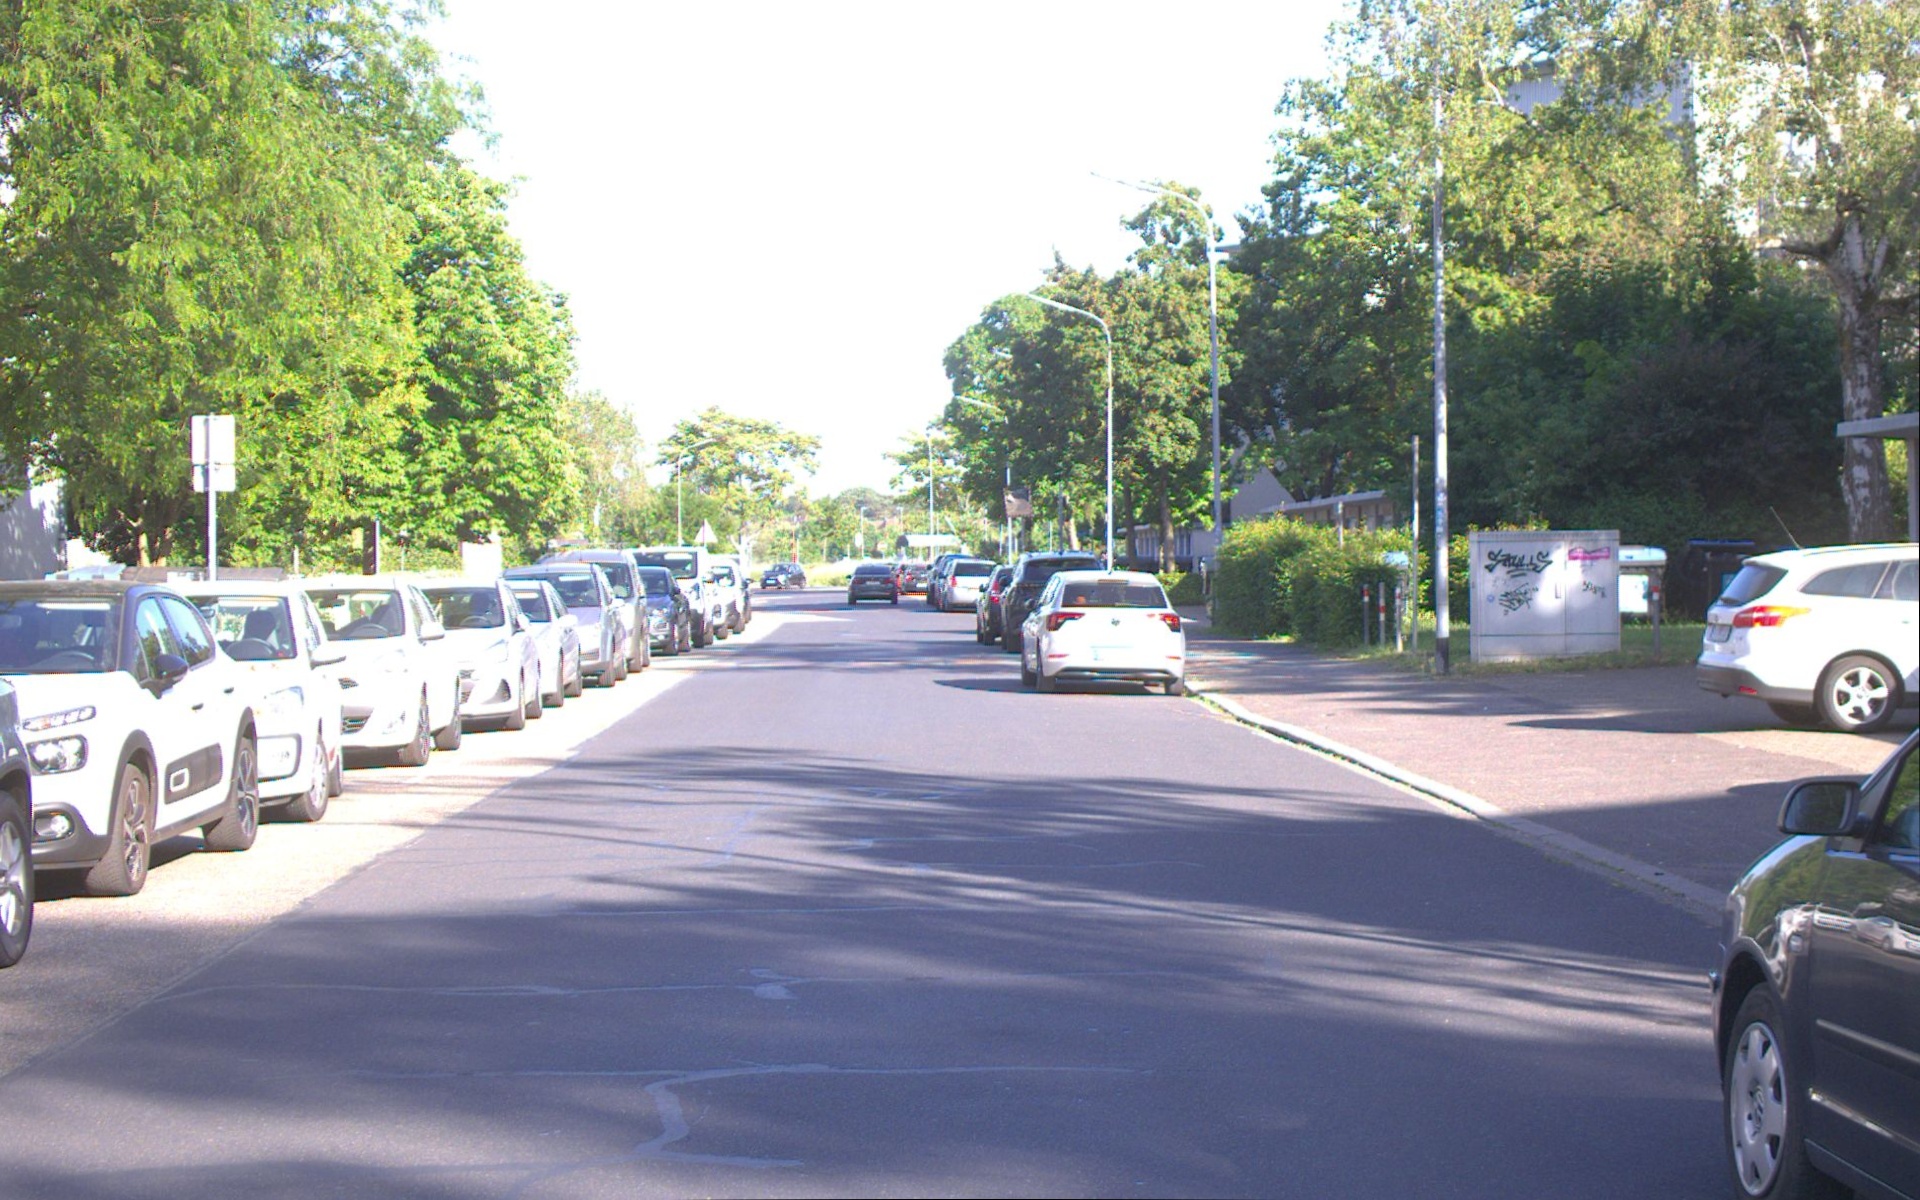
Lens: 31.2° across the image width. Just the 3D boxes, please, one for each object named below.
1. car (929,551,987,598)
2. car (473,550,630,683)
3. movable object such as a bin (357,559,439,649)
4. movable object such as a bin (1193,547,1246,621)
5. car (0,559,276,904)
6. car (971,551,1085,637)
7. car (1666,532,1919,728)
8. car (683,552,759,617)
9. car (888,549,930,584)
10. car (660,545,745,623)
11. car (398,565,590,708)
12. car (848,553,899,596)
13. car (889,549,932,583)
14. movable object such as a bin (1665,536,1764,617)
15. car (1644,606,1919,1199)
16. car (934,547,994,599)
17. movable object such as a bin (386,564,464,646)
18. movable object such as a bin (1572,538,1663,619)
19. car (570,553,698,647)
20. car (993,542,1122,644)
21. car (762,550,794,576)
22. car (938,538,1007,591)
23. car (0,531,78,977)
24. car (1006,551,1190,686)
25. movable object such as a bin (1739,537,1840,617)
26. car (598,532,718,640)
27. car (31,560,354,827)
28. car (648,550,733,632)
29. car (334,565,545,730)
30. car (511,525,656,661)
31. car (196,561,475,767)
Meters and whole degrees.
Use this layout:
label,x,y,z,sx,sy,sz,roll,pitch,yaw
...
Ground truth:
label,x,y,z,sx,sy,sz,roll,pitch,yaw
car,-0.088,-0.933,123.922,1.795,1.638,3.952,0,1,-4
car,-5.314,0.181,45.088,1.709,1.595,3.986,-3,1,-3
movable object such as a bin,-9.228,0.059,56.458,1.101,1.416,1.361,2,1,-1
movable object such as a bin,5.159,-0.330,68.387,0.917,1.449,1.233,-1,1,-1
car,-4.659,0.577,17.229,1.662,1.508,3.946,-2,1,0
car,1.213,-0.128,63.239,1.908,1.525,4.328,0,1,-1
car,8.235,0.193,28.302,4.415,1.508,1.829,-2,1,-1
car,-6.234,-0.429,89.877,1.746,1.607,4.308,-2,1,-1
car,-2.485,-1.610,165.899,1.795,1.638,3.952,0,1,-4
car,-5.981,-0.396,80.179,1.746,1.726,4.006,-2,1,-1
car,-5.322,0.371,39.734,1.686,1.460,4.526,-3,1,-2
car,-3.184,-0.953,126.023,1.679,1.508,4.105,1,1,-4
car,-2.300,-1.577,158.723,1.795,1.543,3.952,0,1,-4
movable object such as a bin,12.796,-0.408,58.357,1.254,1.348,1.279,0,1,-10
car,2.695,0.756,6.593,1.731,1.399,3.896,1,1,-4
car,0.115,-0.942,119.372,1.795,1.780,3.952,0,1,-4
movable object such as a bin,-9.215,0.081,59.275,1.101,1.352,1.361,2,1,-1
movable object such as a bin,11.095,-0.365,58.093,1.254,1.348,1.279,0,1,-2
car,-5.671,-0.028,60.195,1.746,1.528,4.139,-2,1,1
car,1.583,-0.142,57.316,1.908,1.634,4.629,0,1,-1
car,-10.800,-2.188,203.660,1.795,1.556,3.952,0,1,-4
car,0.358,-1.085,103.464,1.795,1.556,3.952,0,1,-4
car,-4.465,0.604,11.624,1.903,1.634,4.349,-2,1,-1
car,1.607,0.188,41.322,1.753,1.508,4.105,1,1,-4
movable object such as a bin,14.208,-0.404,58.933,1.254,1.348,1.279,0,1,-12
car,-5.783,-0.294,66.321,1.914,1.956,5.088,-2,1,-1
car,-4.795,0.525,21.870,1.662,1.508,3.539,-2,1,-8
car,-5.833,-0.221,74.564,1.746,1.664,4.379,-2,1,-4
car,-5.113,0.422,34.186,1.686,1.500,3.818,-1,1,-3
car,-5.562,-0.133,51.207,1.854,1.886,4.419,-2,1,-3
car,-5.068,0.470,28.354,1.686,1.529,3.891,-2,1,-2
